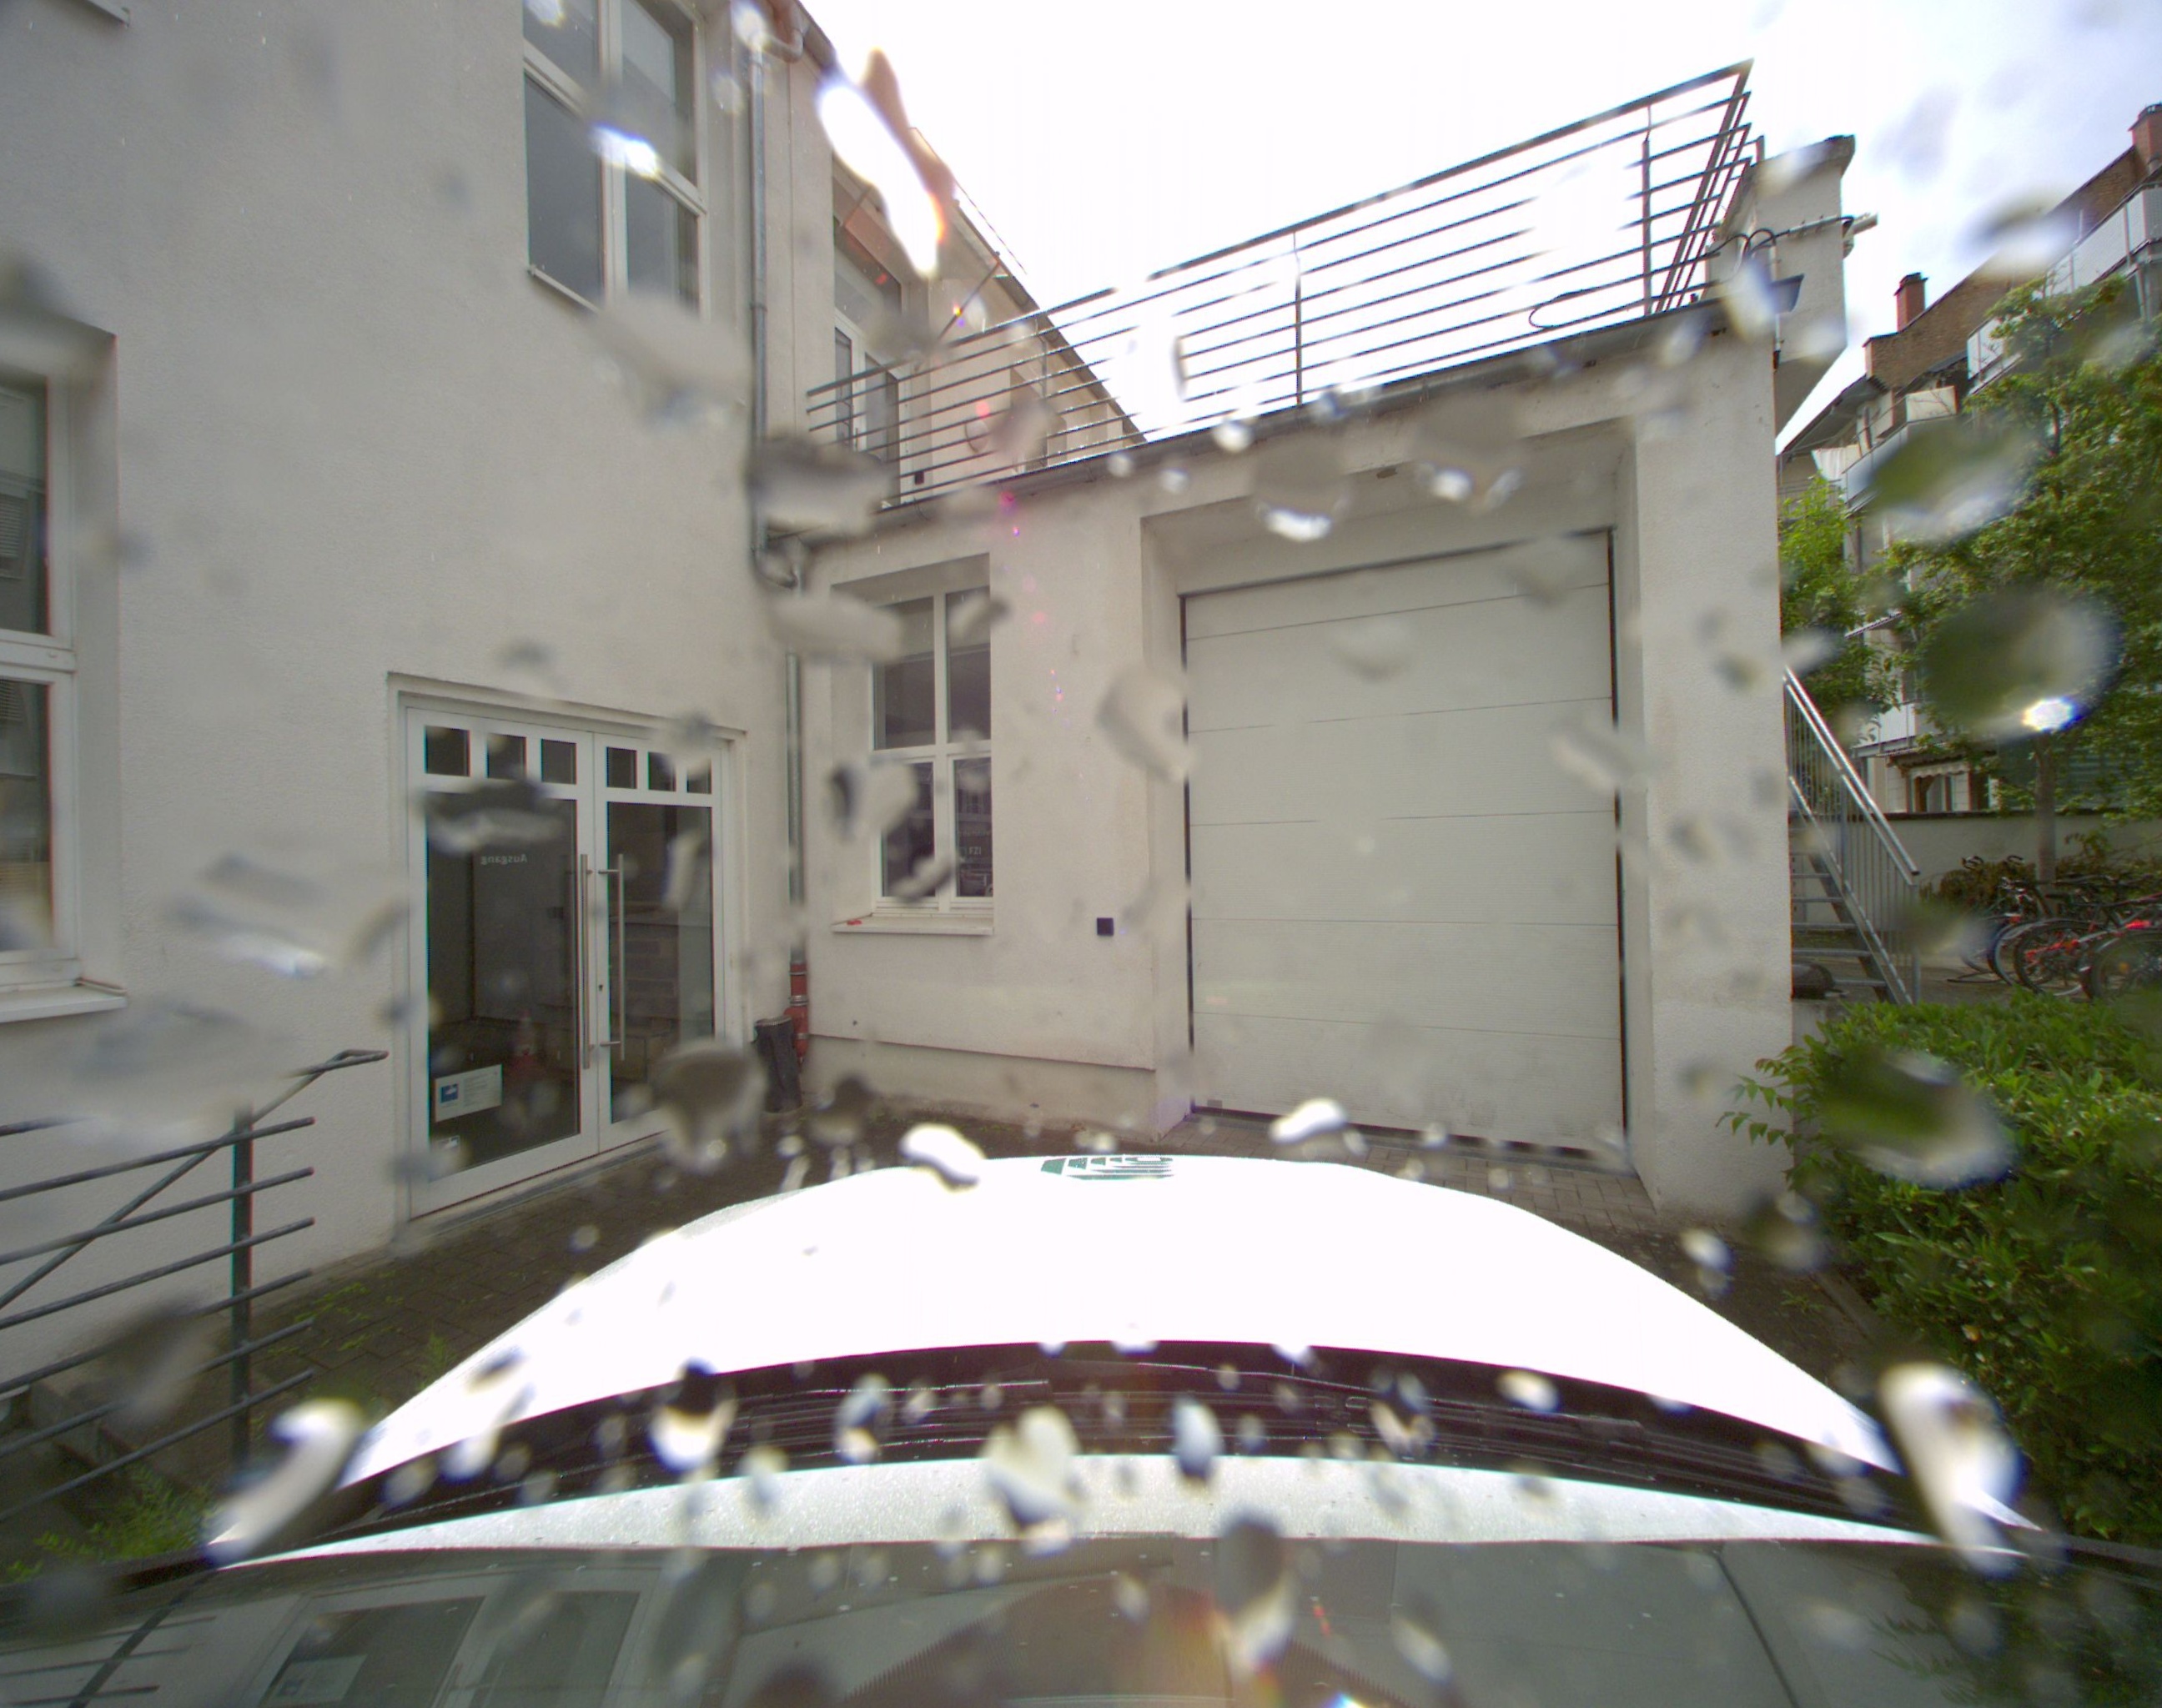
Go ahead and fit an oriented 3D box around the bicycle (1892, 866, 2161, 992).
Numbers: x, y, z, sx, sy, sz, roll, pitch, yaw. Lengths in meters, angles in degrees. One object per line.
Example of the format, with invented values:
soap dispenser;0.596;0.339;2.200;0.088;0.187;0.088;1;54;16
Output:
bicycle;9.489;0.661;7.501;2.818;1.078;0.693;0;1;22

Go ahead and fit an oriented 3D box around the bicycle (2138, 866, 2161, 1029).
bicycle;8.481;0.627;4.734;2.898;1.078;0.693;0;1;22

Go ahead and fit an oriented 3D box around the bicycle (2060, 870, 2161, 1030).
bicycle;8.765;0.664;5.466;2.818;1.078;0.693;0;1;22

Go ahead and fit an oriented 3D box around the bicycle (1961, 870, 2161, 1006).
bicycle;9.409;0.691;6.766;2.818;1.078;0.693;0;1;22

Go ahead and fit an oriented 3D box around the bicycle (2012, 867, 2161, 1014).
bicycle;9.125;0.655;6.105;2.818;1.078;0.693;0;1;22
